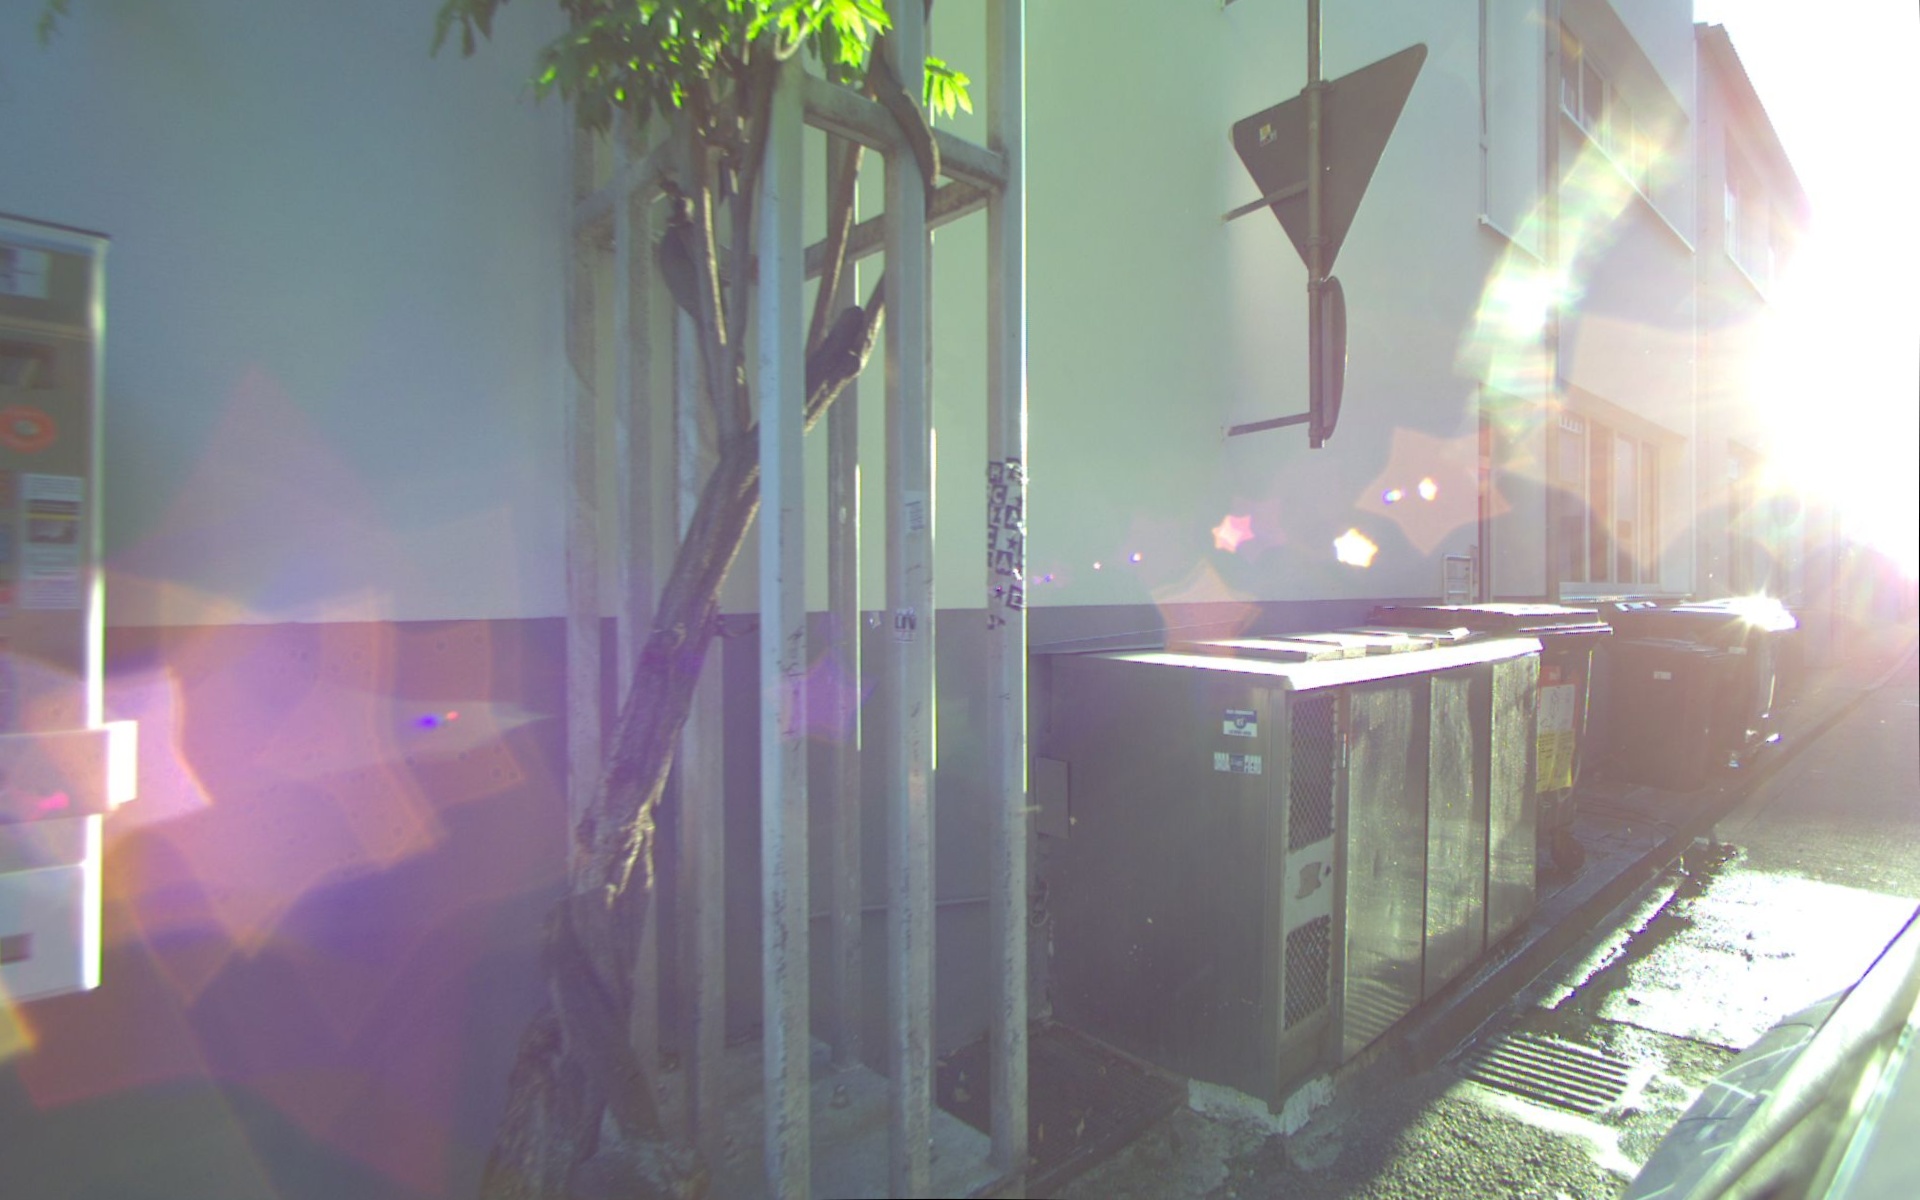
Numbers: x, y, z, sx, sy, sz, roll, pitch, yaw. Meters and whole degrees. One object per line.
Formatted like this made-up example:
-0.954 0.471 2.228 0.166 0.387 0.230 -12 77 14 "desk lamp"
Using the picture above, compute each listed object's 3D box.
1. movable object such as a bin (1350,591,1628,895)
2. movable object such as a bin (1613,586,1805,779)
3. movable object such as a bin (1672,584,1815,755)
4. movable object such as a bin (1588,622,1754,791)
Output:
2.755 0.636 5.253 1.267 1.321 0.837 -1 3 -41 "movable object such as a bin"
6.158 0.599 8.308 1.065 1.383 1.321 3 3 44 "movable object such as a bin"
7.169 0.569 9.250 0.936 1.383 1.323 3 3 40 "movable object such as a bin"
5.262 0.745 7.501 0.726 1.088 0.869 -1 3 -45 "movable object such as a bin"
